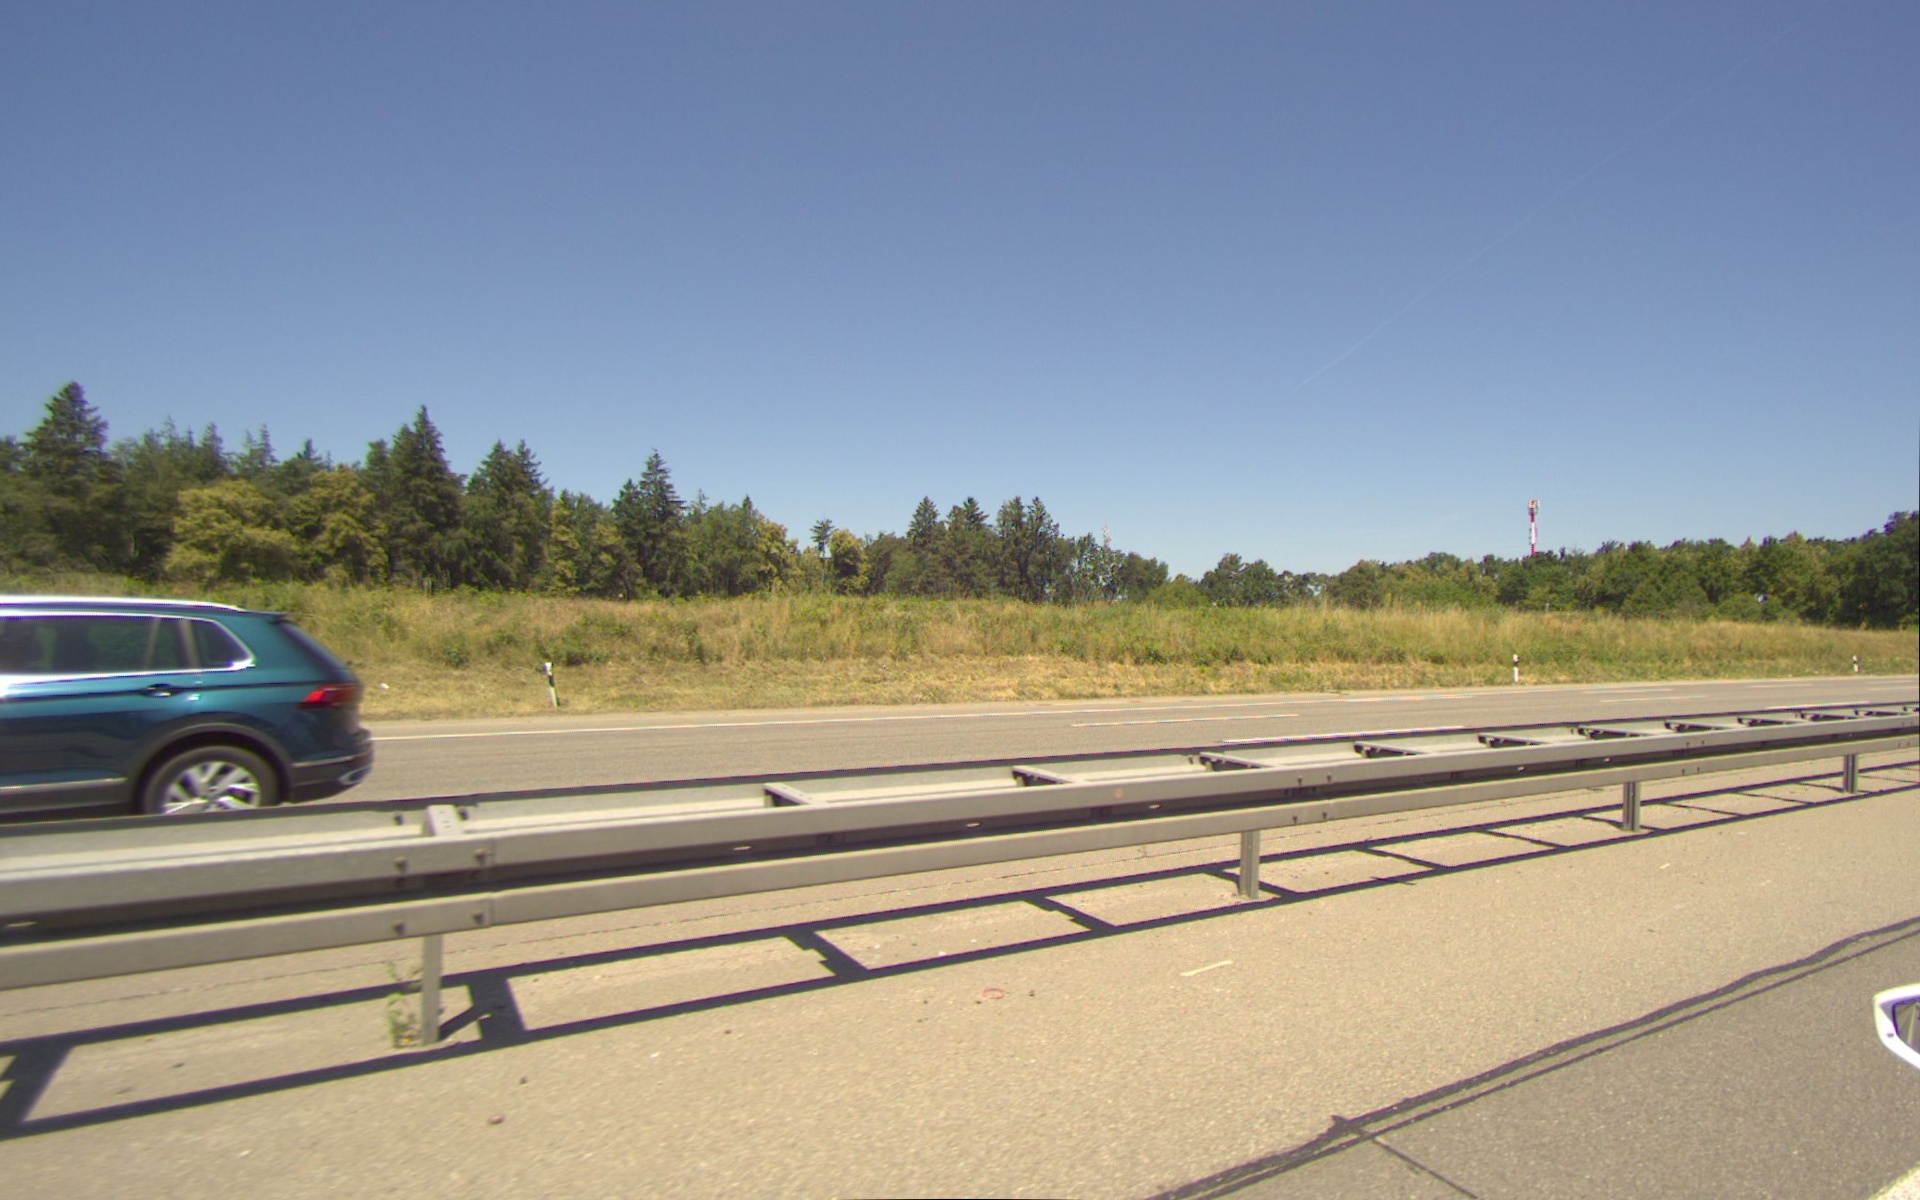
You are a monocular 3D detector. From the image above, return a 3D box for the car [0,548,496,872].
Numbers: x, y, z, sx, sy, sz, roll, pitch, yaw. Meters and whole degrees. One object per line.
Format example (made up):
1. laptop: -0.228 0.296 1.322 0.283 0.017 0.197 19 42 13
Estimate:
1. car: -6.209 0.710 7.036 5.164 1.919 2.353 2 -3 -31
